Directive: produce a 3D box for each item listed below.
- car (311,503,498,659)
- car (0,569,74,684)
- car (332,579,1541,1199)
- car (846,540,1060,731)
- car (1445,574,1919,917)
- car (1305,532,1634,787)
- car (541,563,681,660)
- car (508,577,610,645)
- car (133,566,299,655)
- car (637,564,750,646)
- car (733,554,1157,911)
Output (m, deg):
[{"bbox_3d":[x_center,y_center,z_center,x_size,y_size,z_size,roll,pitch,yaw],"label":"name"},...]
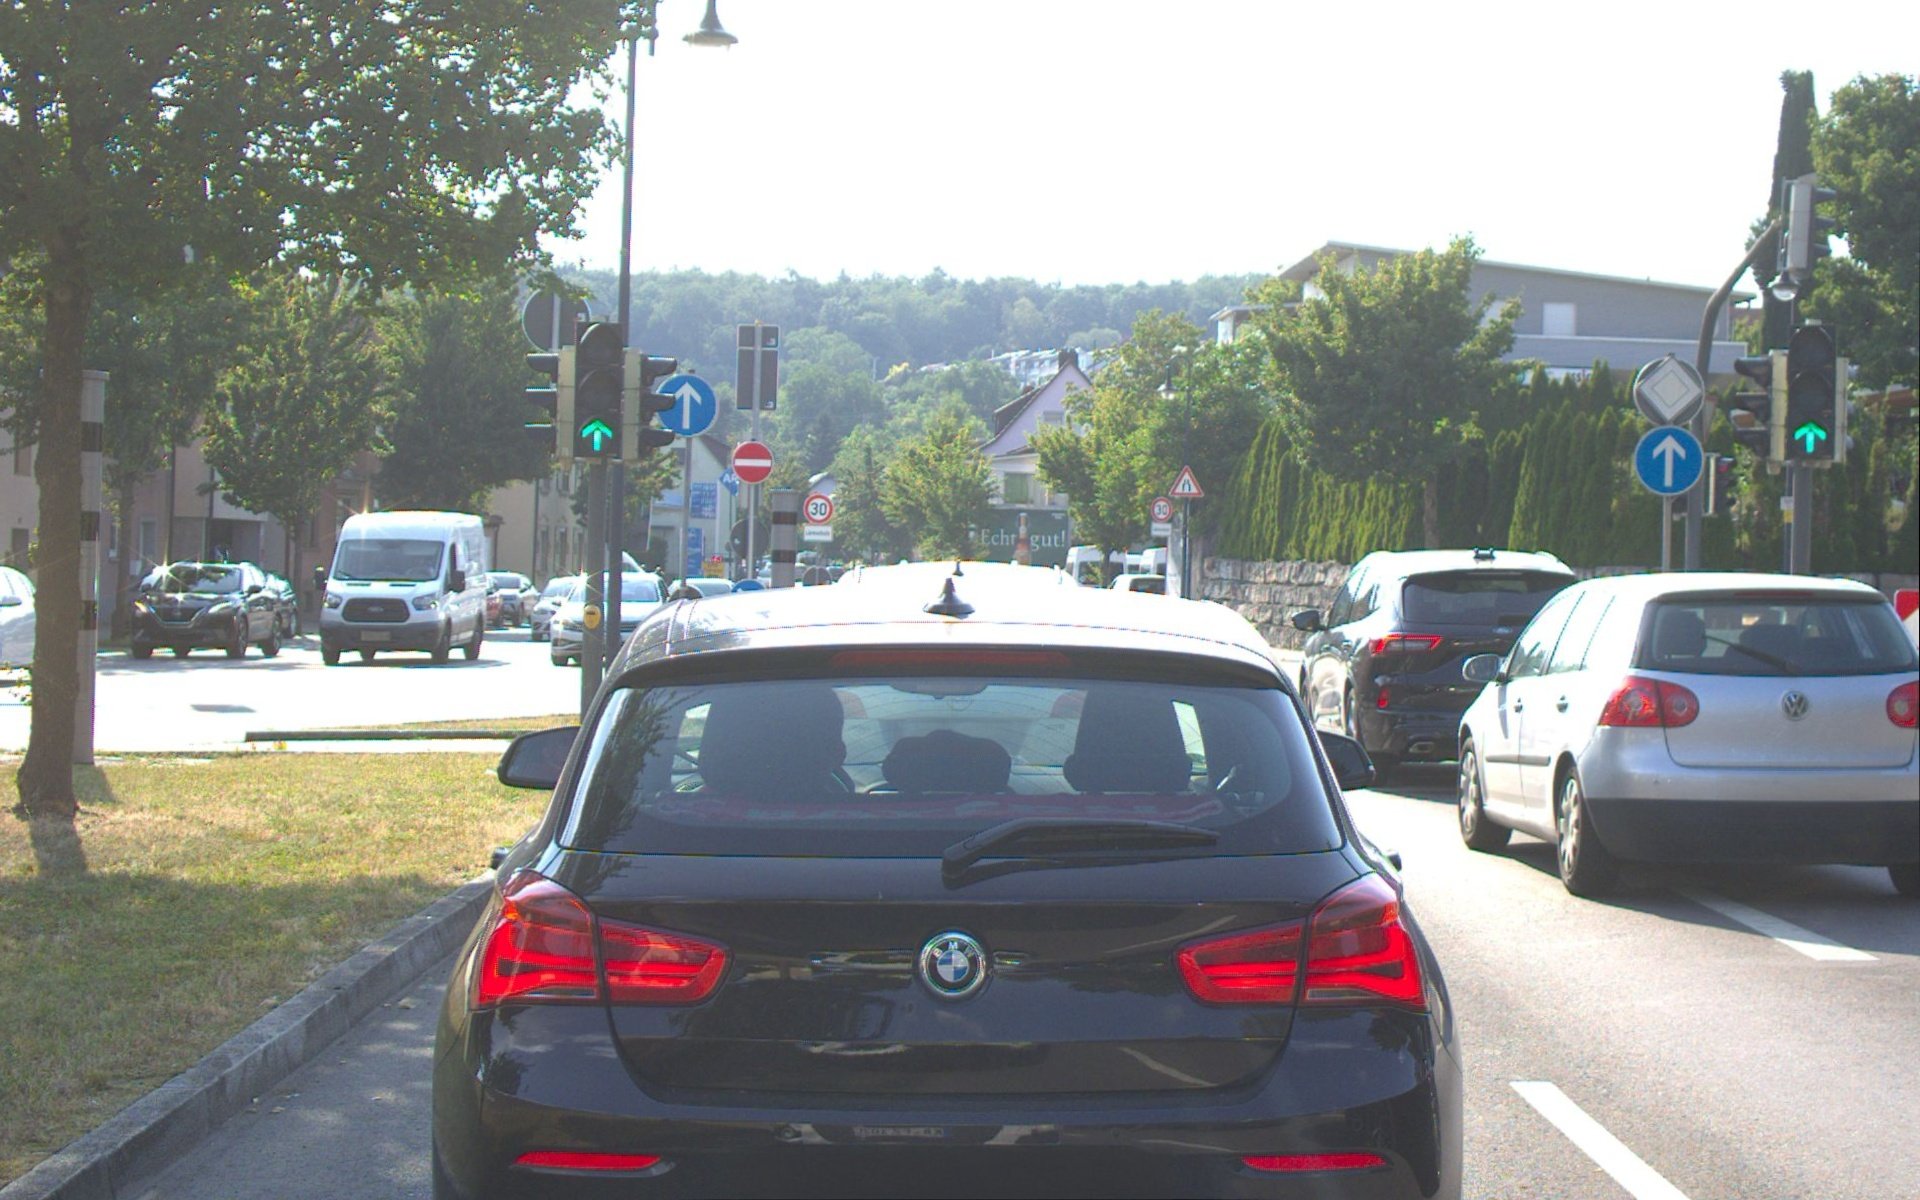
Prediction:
[{"bbox_3d":[-9.033,-0.314,56.333,2.084,2.385,5.528,1,0,0],"label":"car"},{"bbox_3d":[-12.388,0.278,42.321,1.737,1.296,3.799,5,1,2],"label":"car"},{"bbox_3d":[-0.029,0.682,7.255,1.788,1.393,4.281,-1,1,0],"label":"car"},{"bbox_3d":[-0.054,0.267,31.092,1.788,1.588,4.281,-1,1,0],"label":"car"},{"bbox_3d":[3.514,0.610,16.683,1.761,1.421,3.903,-1,1,0],"label":"car"},{"bbox_3d":[3.544,0.360,24.534,1.761,1.650,3.903,-1,1,0],"label":"car"},{"bbox_3d":[-5.575,0.154,55.342,1.839,1.477,4.000,1,1,0],"label":"car"},{"bbox_3d":[-9.191,0.231,79.119,1.839,1.477,4.000,1,1,1],"label":"car"},{"bbox_3d":[-12.560,0.146,58.254,1.737,1.296,3.799,5,1,2],"label":"car"},{"bbox_3d":[-5.077,0.071,65.988,1.839,1.477,4.000,1,1,0],"label":"car"},{"bbox_3d":[-0.060,0.536,16.768,1.788,1.488,4.281,-1,1,0],"label":"car"}]
